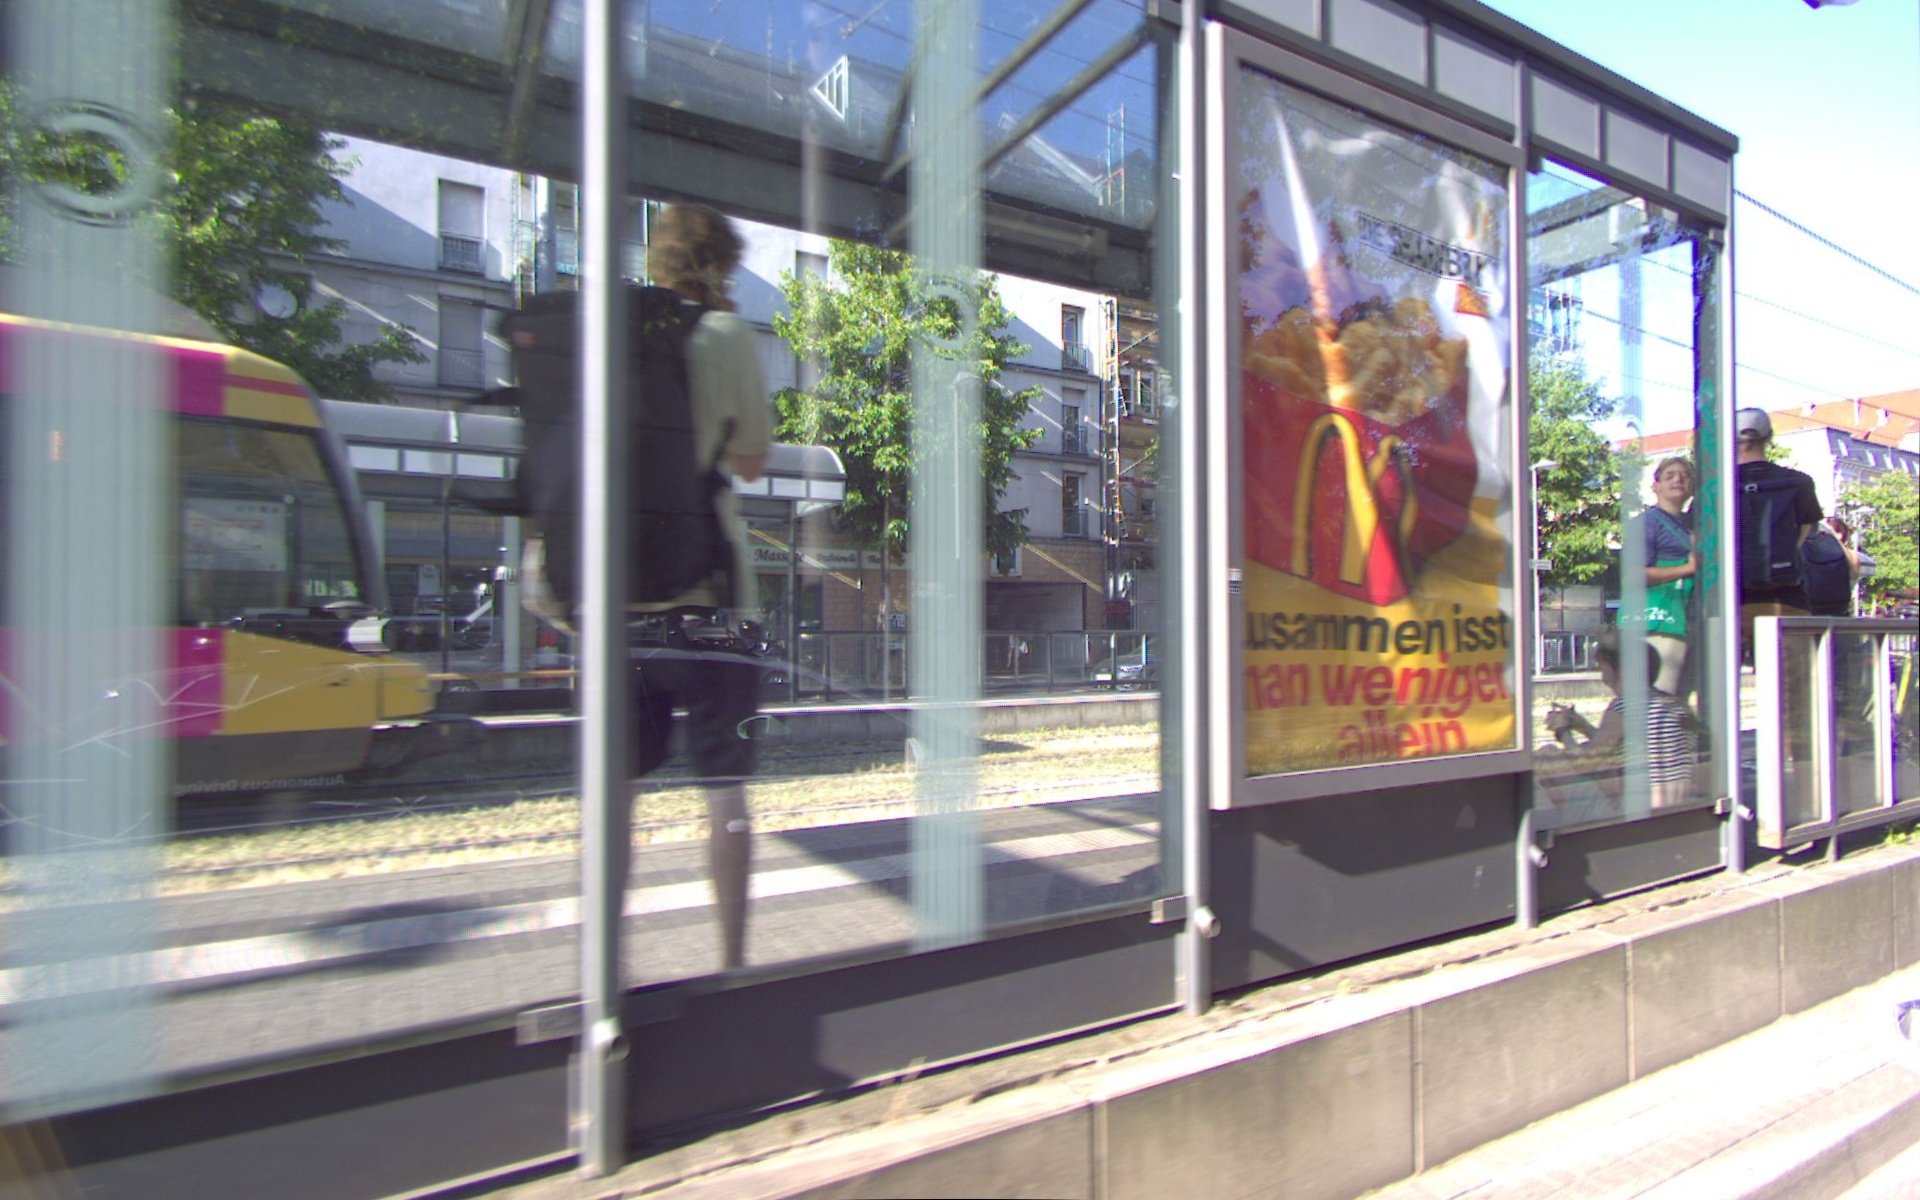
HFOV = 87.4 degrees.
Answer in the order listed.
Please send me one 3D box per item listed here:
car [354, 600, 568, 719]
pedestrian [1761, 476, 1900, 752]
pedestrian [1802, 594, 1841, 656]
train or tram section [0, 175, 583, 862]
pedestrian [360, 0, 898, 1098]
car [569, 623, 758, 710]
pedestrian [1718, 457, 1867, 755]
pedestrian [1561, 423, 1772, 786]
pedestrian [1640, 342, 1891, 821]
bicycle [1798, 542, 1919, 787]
[{"bbox_3d":[-10.111,1.138,20.444,3.741,2.195,1.931,1,0,-31],"label":"car"},{"bbox_3d":[5.801,0.092,6.695,0.722,1.731,0.503,1,0,-33],"label":"pedestrian"},{"bbox_3d":[24.425,0.700,28.481,0.647,1.713,0.675,1,0,-32],"label":"pedestrian"},{"bbox_3d":[-7.450,-0.432,5.788,9.569,3.734,2.857,1,-2,-30],"label":"train or tram section"},{"bbox_3d":[-0.625,-0.098,2.216,0.829,1.928,0.865,1,0,5],"label":"pedestrian"},{"bbox_3d":[-6.616,1.418,22.466,3.741,1.752,1.797,1,0,-31],"label":"car"},{"bbox_3d":[5.157,0.040,6.231,0.593,1.731,0.545,1,0,-33],"label":"pedestrian"},{"bbox_3d":[3.849,0.029,5.487,0.813,1.824,0.597,1,0,-25],"label":"pedestrian"},{"bbox_3d":[3.745,-0.074,4.687,0.813,2.023,0.597,1,0,-25],"label":"pedestrian"},{"bbox_3d":[5.284,0.315,5.409,2.079,1.148,0.510,1,0,-31],"label":"bicycle"}]
